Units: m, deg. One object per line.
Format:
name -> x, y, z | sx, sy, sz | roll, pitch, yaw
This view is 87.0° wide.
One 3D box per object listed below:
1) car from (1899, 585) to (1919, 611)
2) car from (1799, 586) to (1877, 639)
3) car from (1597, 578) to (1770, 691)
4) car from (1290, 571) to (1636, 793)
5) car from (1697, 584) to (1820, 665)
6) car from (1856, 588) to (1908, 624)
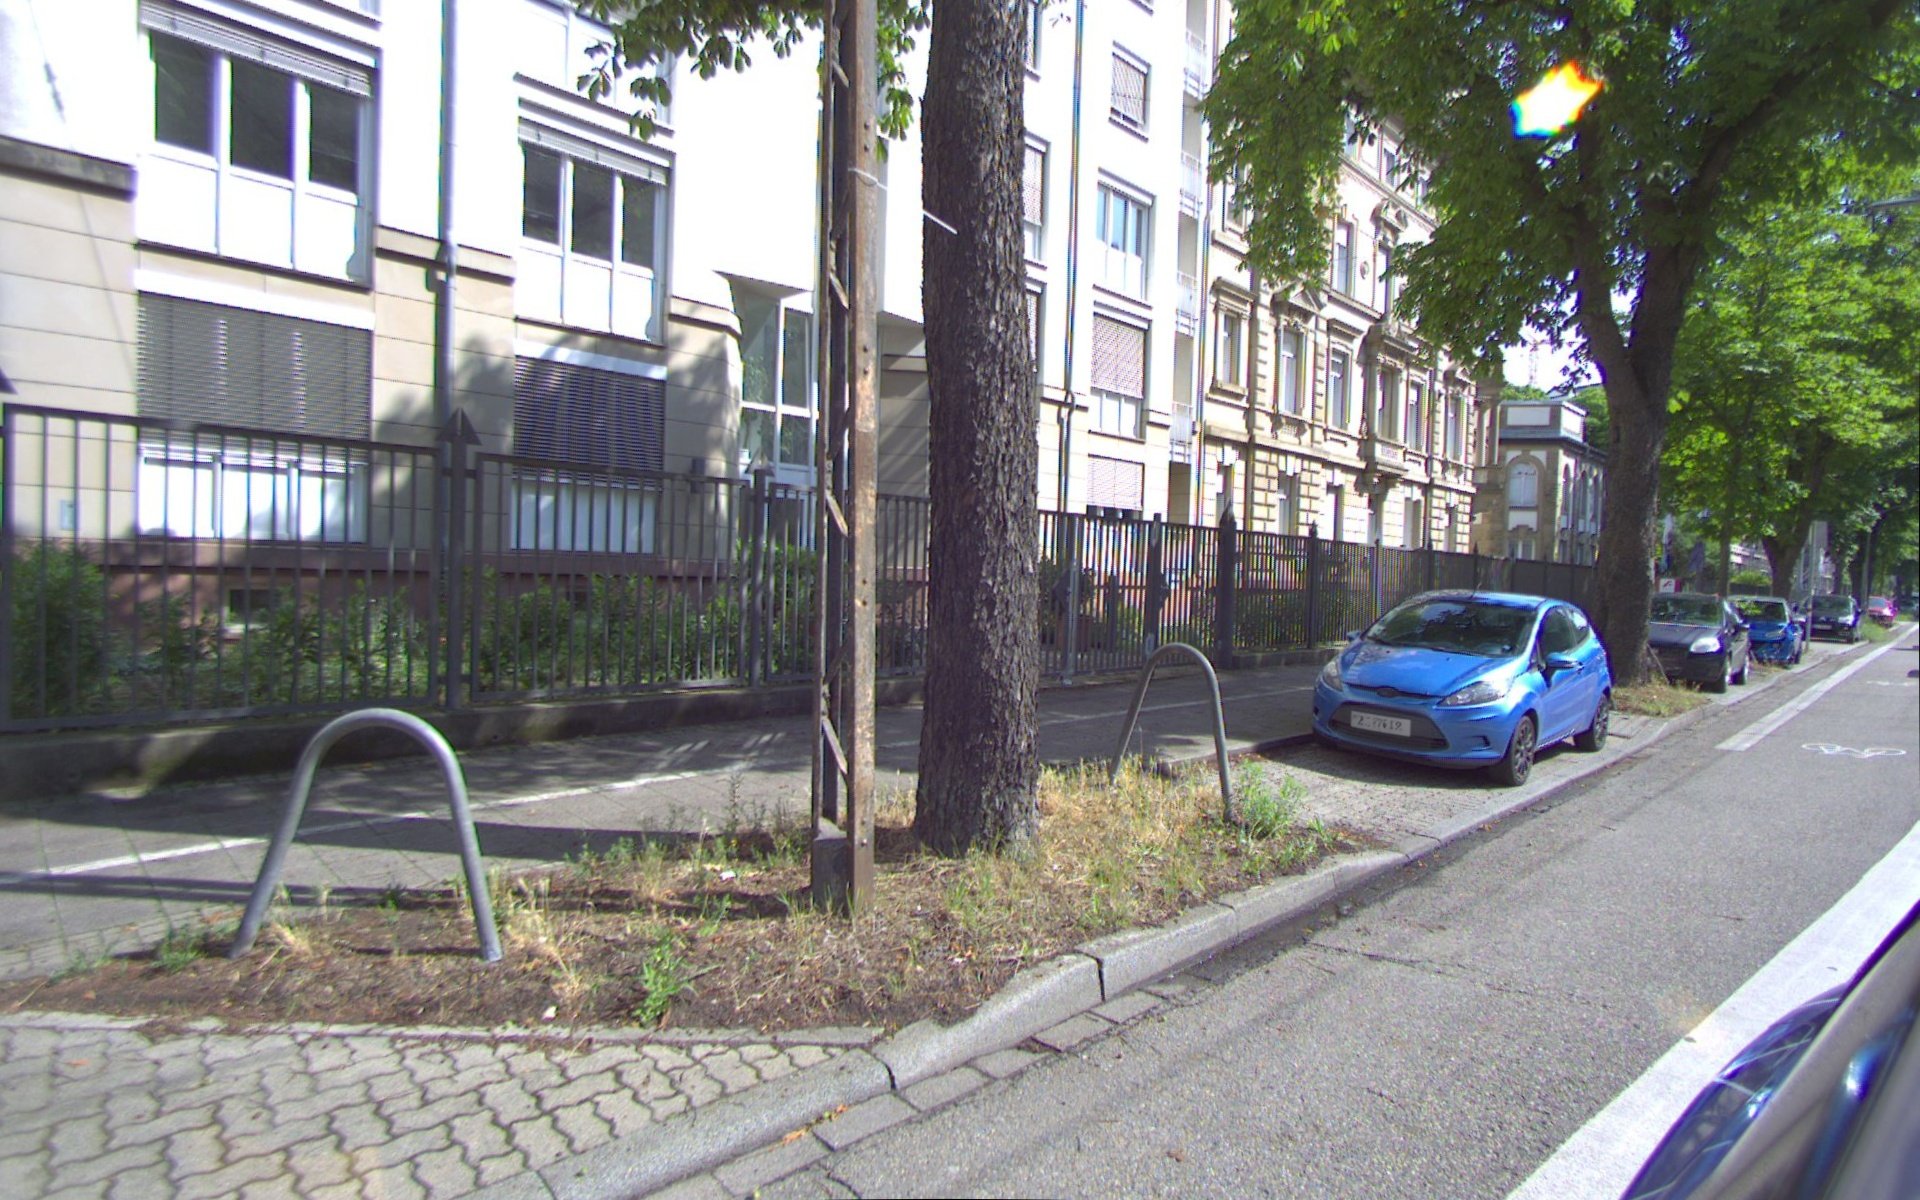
car -> 64.134, -0.120, 67.675 | 1.741, 1.592, 3.868 | 7, 5, 44
car -> 30.453, 0.397, 35.060 | 1.741, 1.592, 3.603 | 7, 5, 44
car -> 11.782, 0.478, 16.404 | 1.676, 1.493, 3.603 | 7, 5, 44
car -> 4.663, 0.573, 9.164 | 3.601, 1.493, 1.644 | 0, 5, -45
car -> 17.501, 0.475, 22.129 | 1.676, 1.493, 3.603 | 7, 5, 44
car -> 46.380, 0.291, 50.893 | 1.741, 1.592, 3.868 | 7, 5, 44
